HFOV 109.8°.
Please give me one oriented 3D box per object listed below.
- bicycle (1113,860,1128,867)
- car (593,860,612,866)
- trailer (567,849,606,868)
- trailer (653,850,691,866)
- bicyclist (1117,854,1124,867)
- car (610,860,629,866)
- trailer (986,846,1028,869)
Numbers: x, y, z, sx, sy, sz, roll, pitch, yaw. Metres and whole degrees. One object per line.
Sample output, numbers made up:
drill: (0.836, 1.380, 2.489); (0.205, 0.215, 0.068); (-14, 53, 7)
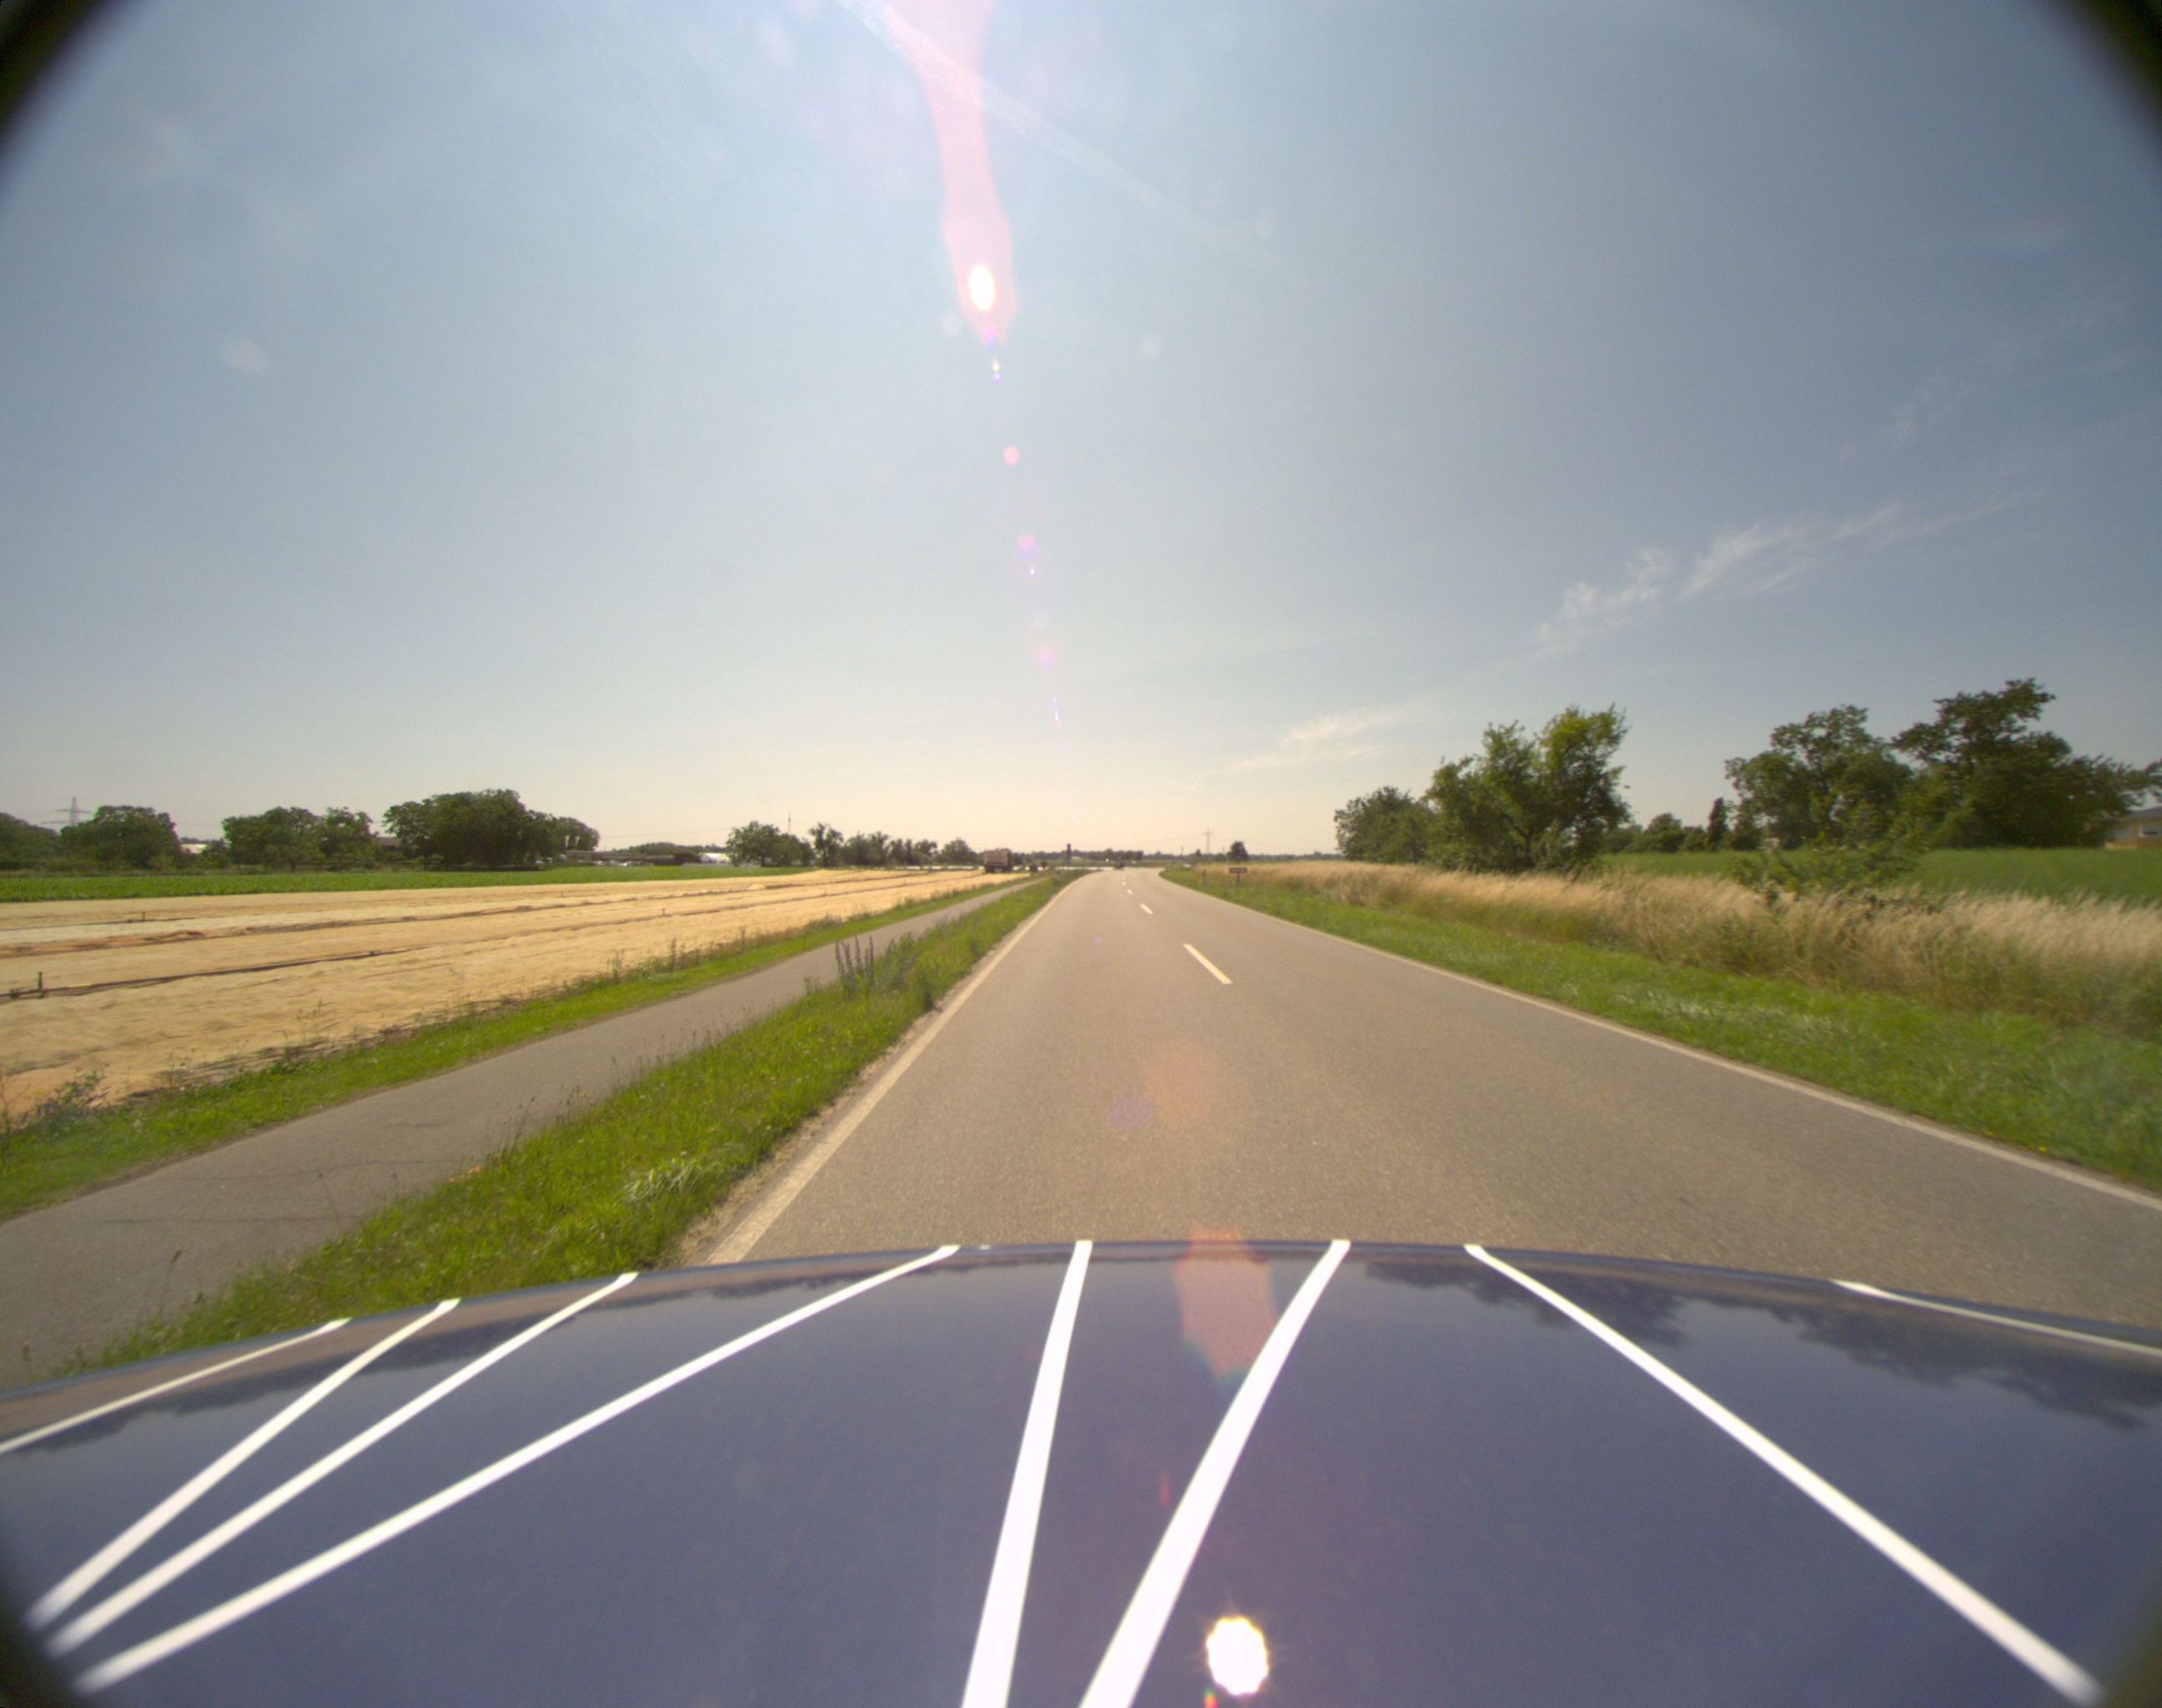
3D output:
bicycle: (5.362, 1.265, 103.610); (1.920, 0.986, 0.683); (-1, 0, 19)
car: (-100.076, 1.798, 158.959); (1.293, 1.190, 3.284); (0, 0, 17)
trailer: (-112.155, 1.067, 172.373); (7.427, 4.197, 3.161); (-1, 1, 13)
trailer: (-86.414, 0.883, 160.564); (7.422, 3.274, 3.265); (-1, 1, 26)
bicyclist: (5.363, 0.869, 103.601); (0.700, 1.747, 0.663); (-1, 1, 19)
car: (-94.781, 1.867, 156.131); (1.293, 1.190, 3.284); (0, 0, 17)
trailer: (-10.054, 0.472, 102.766); (5.283, 2.936, 2.003); (1, 2, 21)
